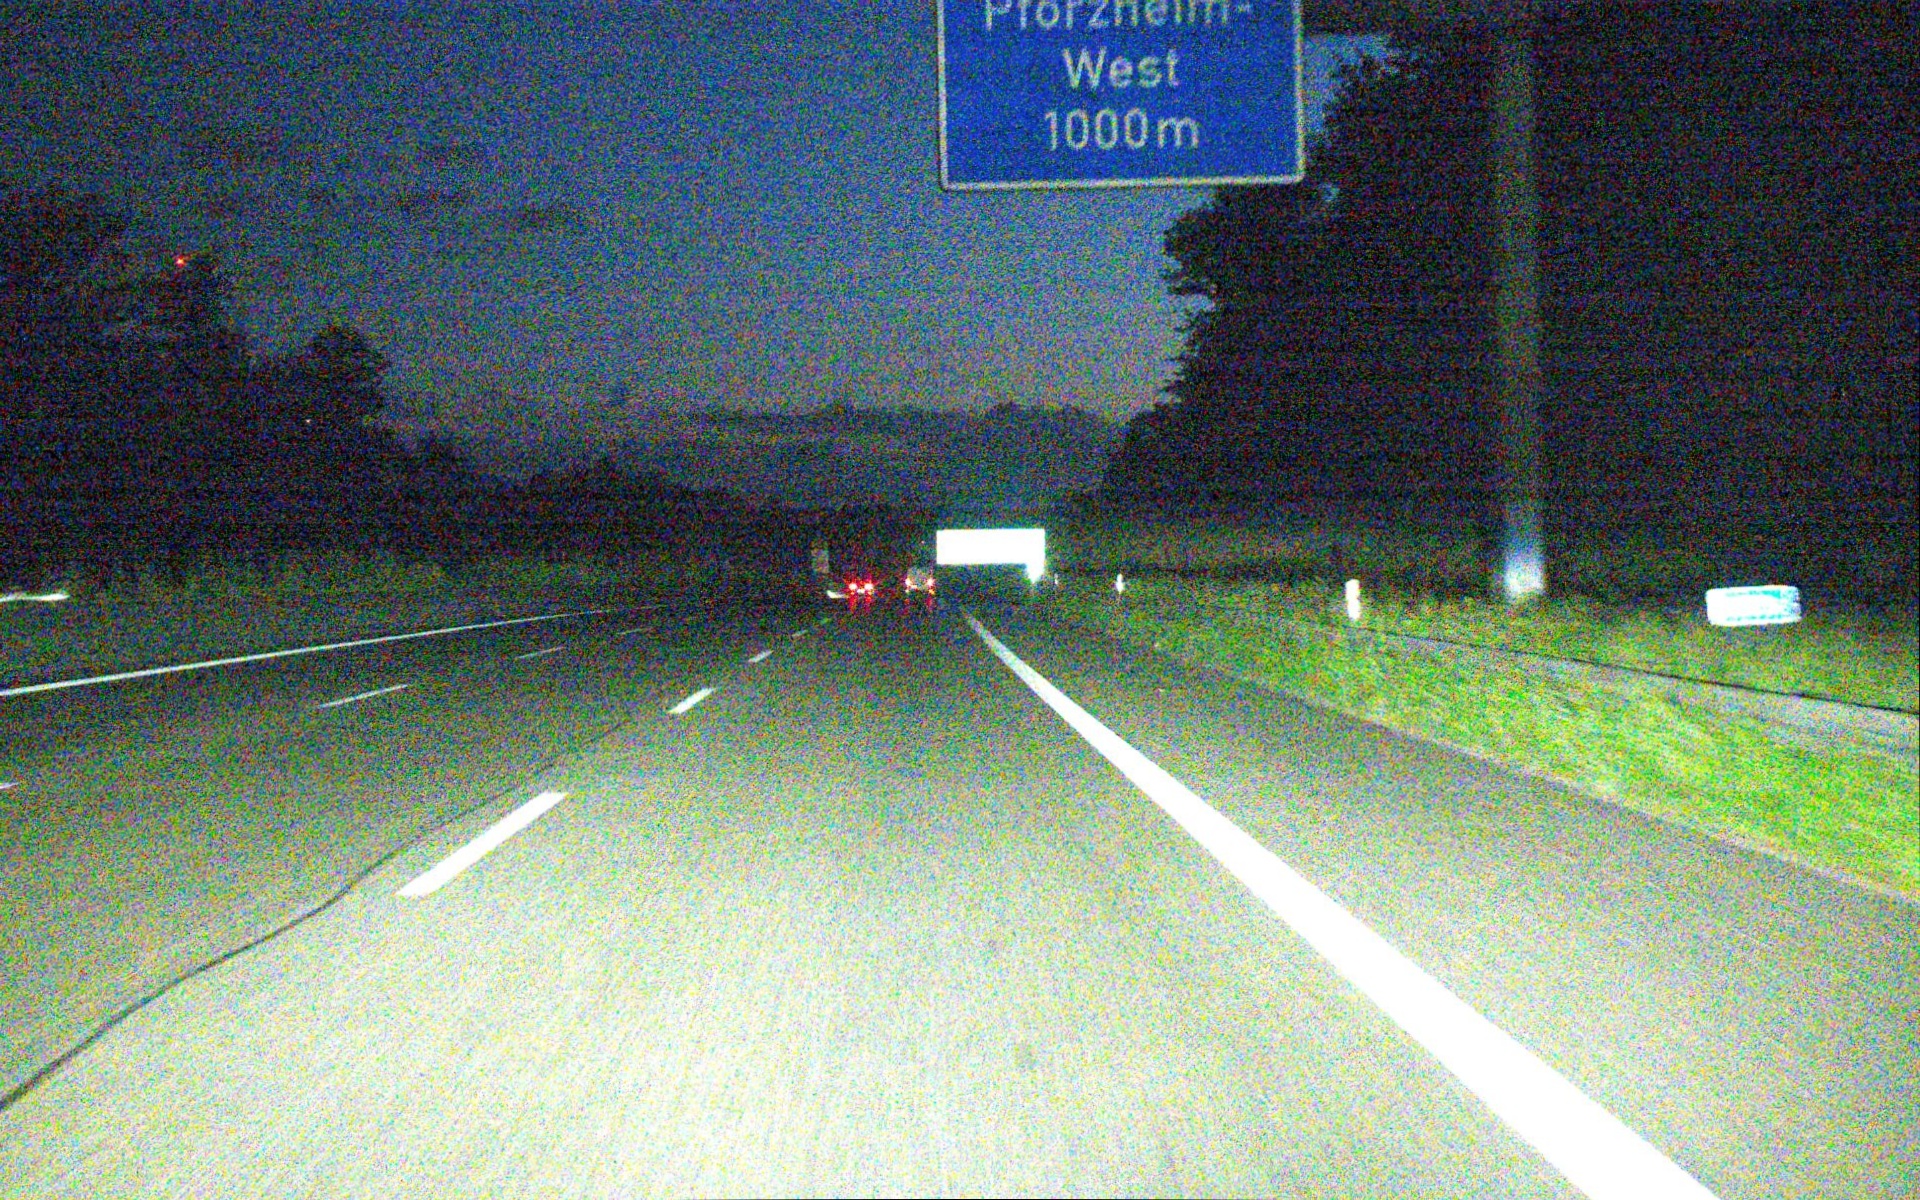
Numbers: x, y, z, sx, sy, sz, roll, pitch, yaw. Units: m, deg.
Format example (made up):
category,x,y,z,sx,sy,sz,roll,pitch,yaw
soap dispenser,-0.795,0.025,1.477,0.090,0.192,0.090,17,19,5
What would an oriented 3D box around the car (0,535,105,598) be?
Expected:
category,x,y,z,sx,sy,sz,roll,pitch,yaw
car,-24.438,-0.905,92.434,1.897,1.640,4.703,1,1,-2
